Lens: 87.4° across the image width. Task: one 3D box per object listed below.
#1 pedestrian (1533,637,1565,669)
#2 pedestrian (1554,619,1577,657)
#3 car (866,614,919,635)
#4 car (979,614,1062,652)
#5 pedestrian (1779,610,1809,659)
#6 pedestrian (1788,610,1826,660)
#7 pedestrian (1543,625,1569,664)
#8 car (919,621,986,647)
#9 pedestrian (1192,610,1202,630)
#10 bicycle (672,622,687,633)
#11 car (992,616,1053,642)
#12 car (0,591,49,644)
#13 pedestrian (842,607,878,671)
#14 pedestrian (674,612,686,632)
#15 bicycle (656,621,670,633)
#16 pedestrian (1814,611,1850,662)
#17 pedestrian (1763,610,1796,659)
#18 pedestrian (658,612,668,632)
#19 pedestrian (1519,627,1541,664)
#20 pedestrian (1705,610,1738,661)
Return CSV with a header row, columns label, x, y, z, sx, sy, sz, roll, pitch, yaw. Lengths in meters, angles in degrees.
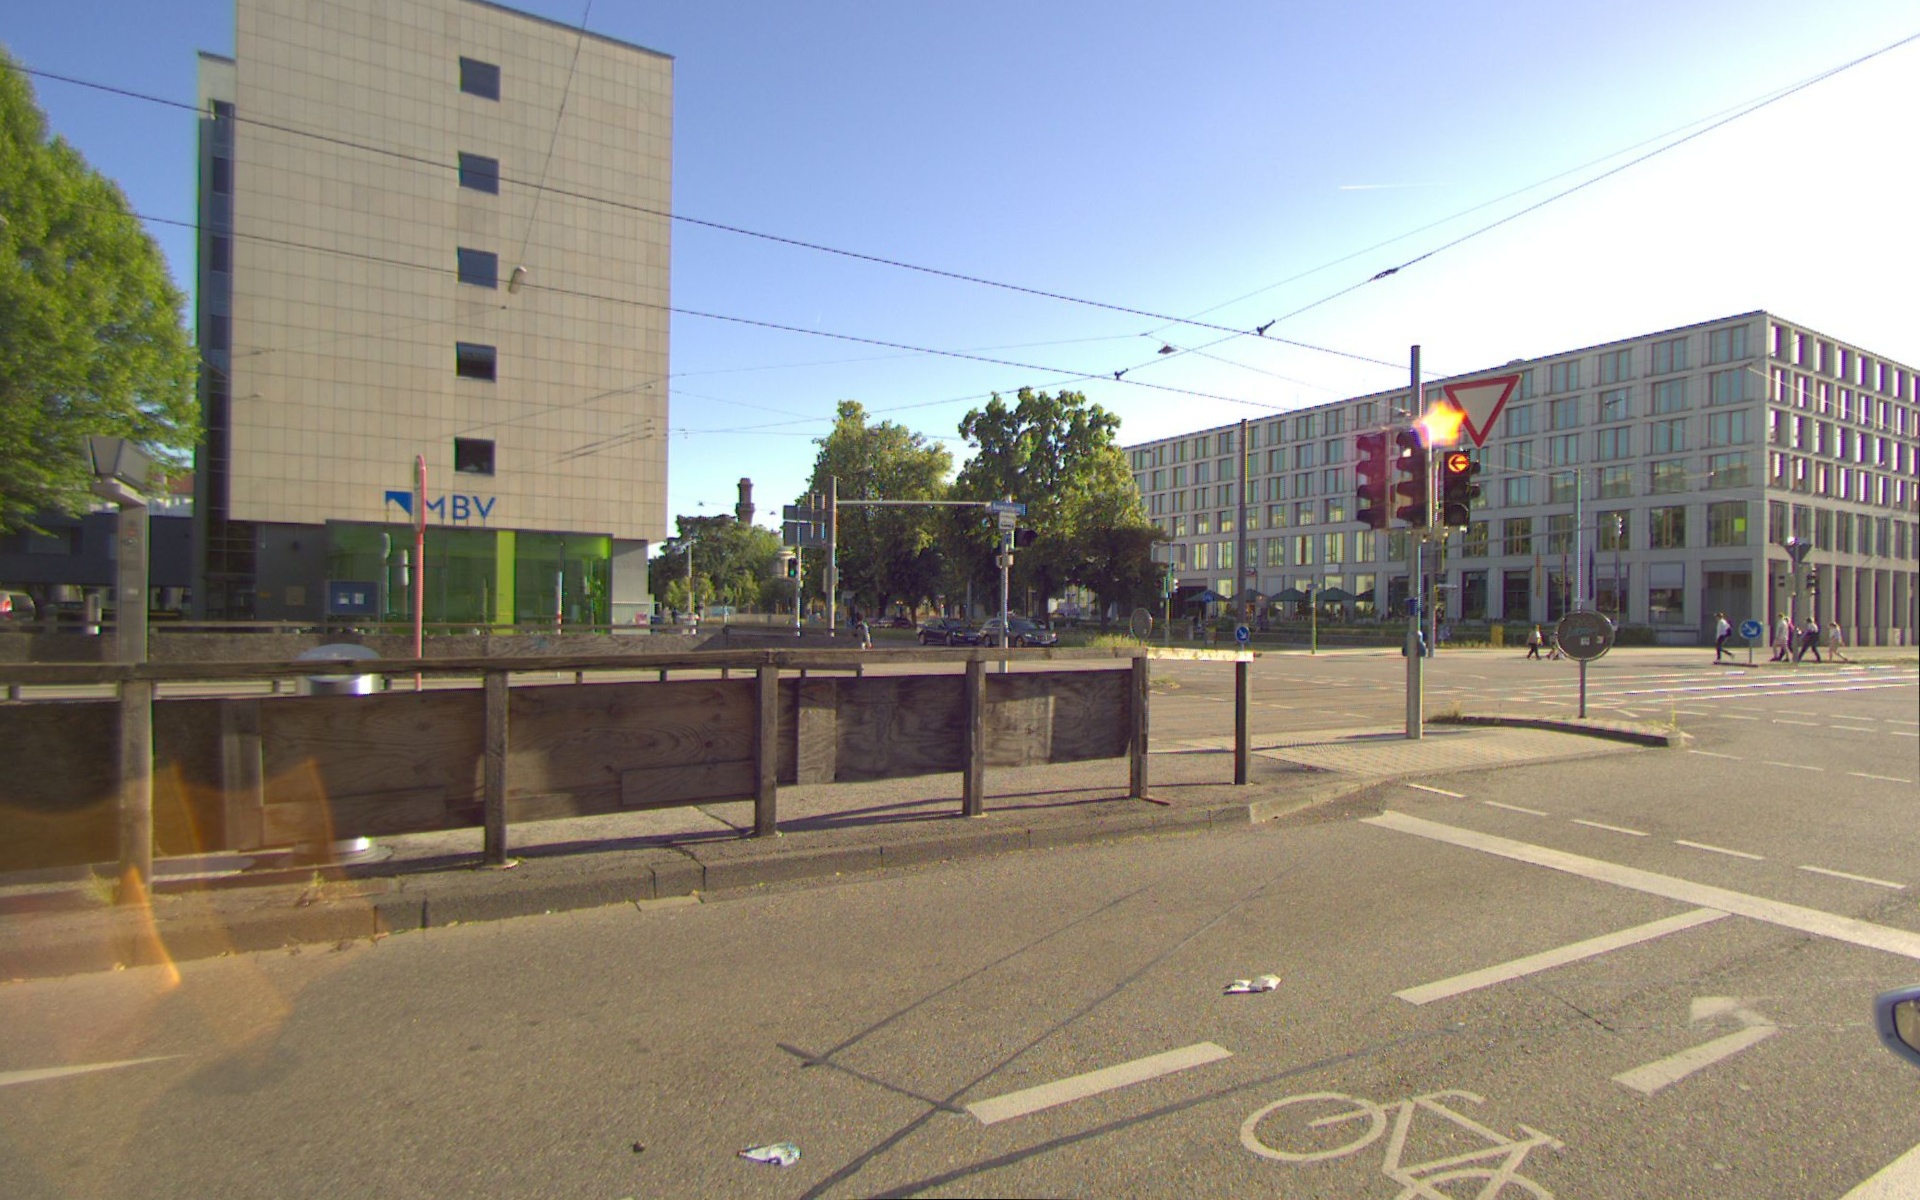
label,x,y,z,sx,sy,sz,roll,pitch,yaw
pedestrian,25.271,2.281,43.080,0.760,1.335,0.986,1,-1,-39
pedestrian,26.925,1.699,44.693,0.615,1.666,0.690,1,-1,-34
car,-5.149,1.852,76.185,1.978,1.433,4.710,4,-2,-31
car,2.827,1.539,47.922,1.830,1.602,4.494,1,1,-29
pedestrian,31.676,1.317,38.168,0.525,1.827,0.737,1,-1,-24
pedestrian,30.926,1.273,36.670,0.654,1.827,0.868,1,-1,-24
pedestrian,25.885,1.935,43.603,0.615,1.666,0.787,1,-1,-34
car,-0.451,1.787,53.365,1.755,1.311,4.209,1,-1,-30
pedestrian,20.896,1.771,88.509,0.556,1.691,0.537,2,0,-33
bicycle,-25.764,2.517,92.333,0.818,0.973,2.132,1,-1,-31
car,3.683,1.726,60.188,1.614,1.452,4.021,3,-2,-31
car,-27.724,0.453,27.782,3.371,1.431,1.562,2,0,-20
pedestrian,-2.767,1.066,27.772,0.814,1.739,0.757,1,-1,-18
pedestrian,-25.743,1.988,92.318,0.818,1.829,0.754,1,-1,-31
bicycle,-27.028,2.452,91.353,0.669,0.973,2.131,1,-1,-32
pedestrian,31.882,1.325,36.731,0.525,1.827,0.867,1,-1,-24
pedestrian,30.842,1.294,37.808,0.706,1.827,0.737,1,-1,-24
pedestrian,-26.976,1.987,91.283,0.666,1.739,0.754,1,-1,-32
pedestrian,25.697,2.043,45.259,0.609,1.666,0.696,1,-1,1
pedestrian,29.032,1.347,38.307,0.628,1.943,0.800,1,-1,-24
